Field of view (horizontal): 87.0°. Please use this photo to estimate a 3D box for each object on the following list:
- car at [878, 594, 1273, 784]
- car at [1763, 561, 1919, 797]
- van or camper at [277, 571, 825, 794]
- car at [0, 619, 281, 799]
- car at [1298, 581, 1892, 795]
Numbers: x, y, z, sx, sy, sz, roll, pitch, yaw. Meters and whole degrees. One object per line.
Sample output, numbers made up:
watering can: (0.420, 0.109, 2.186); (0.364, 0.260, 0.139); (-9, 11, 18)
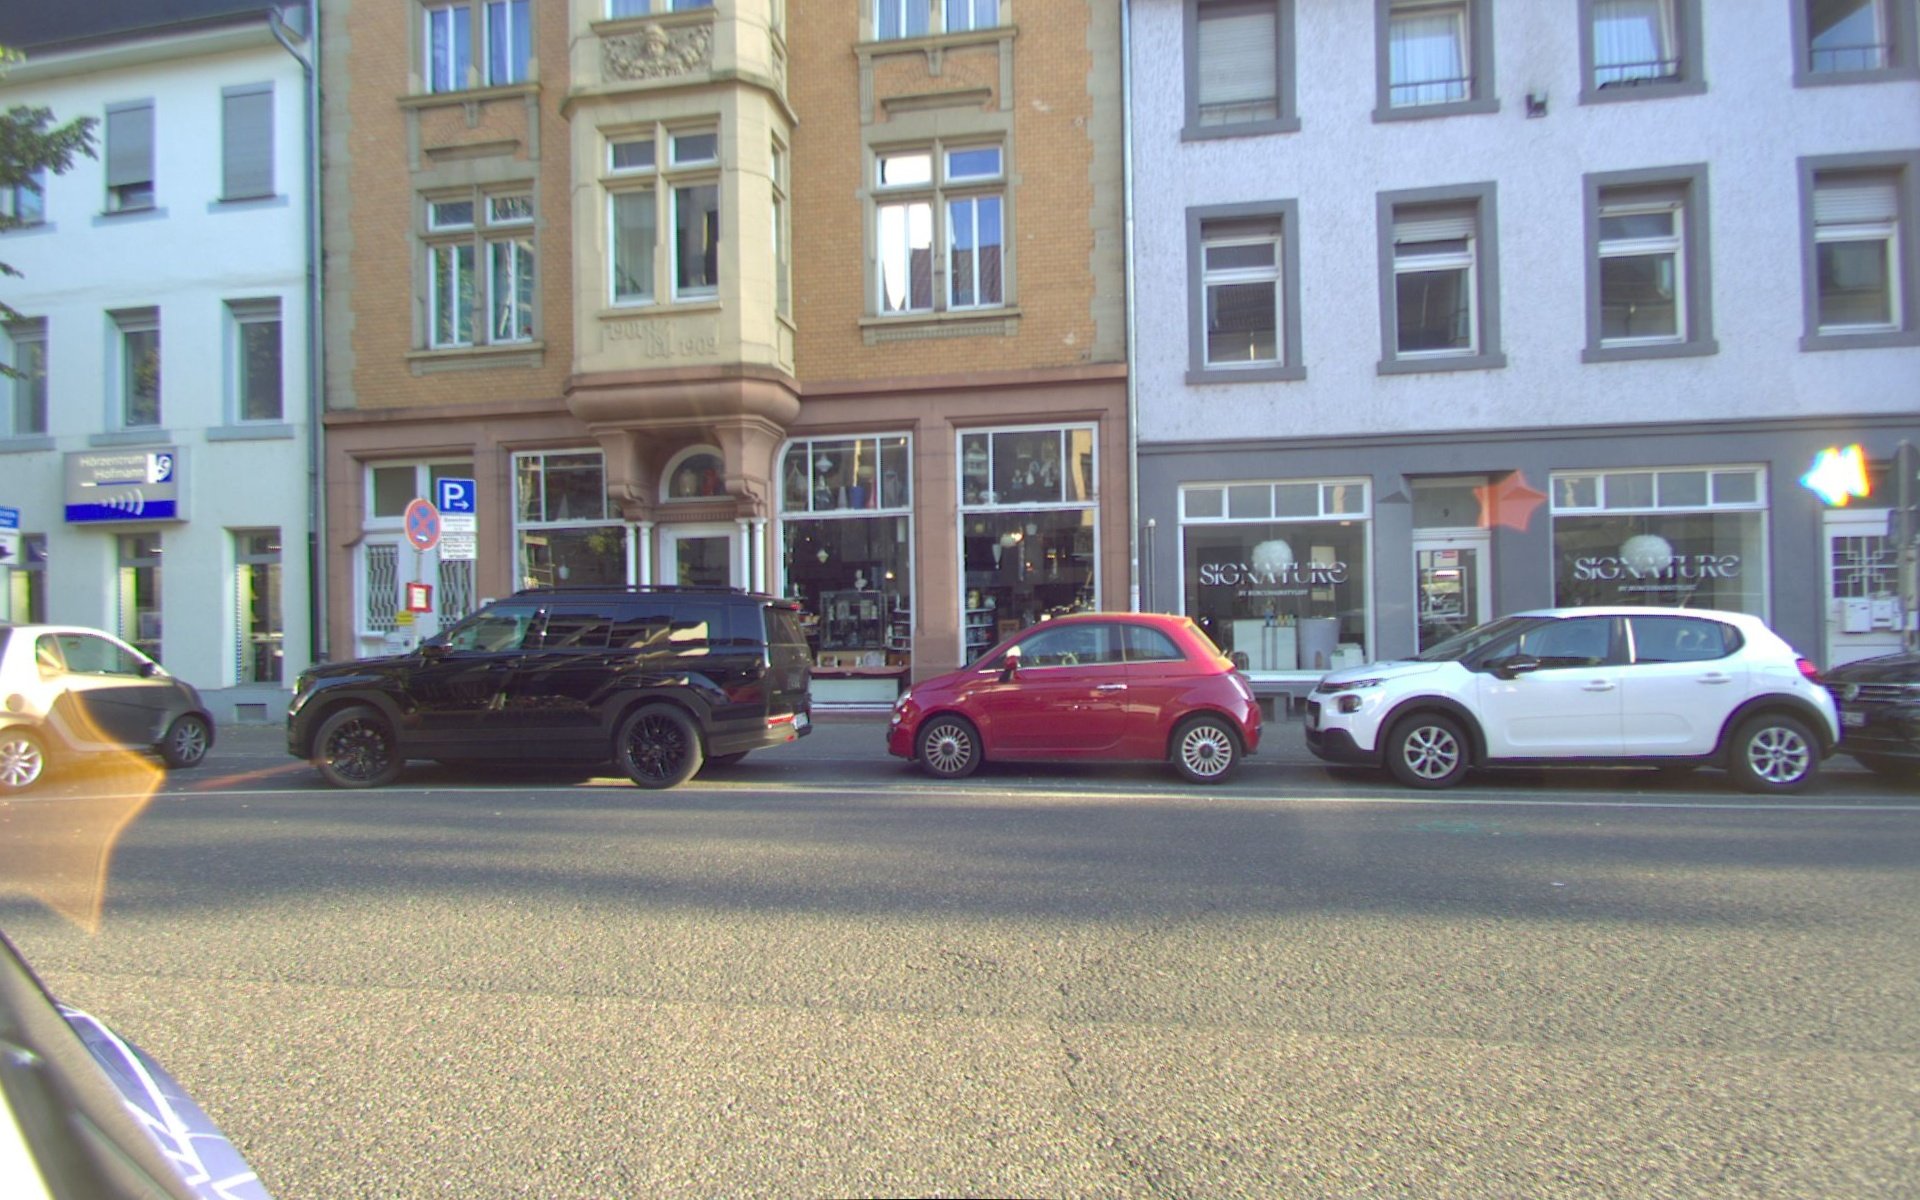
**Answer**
car: (1.065, 0.808, 9.529); (3.385, 1.582, 1.525); (-1, -3, 11)
car: (9.236, 0.562, 7.761); (4.409, 1.711, 1.795); (-1, -3, 9)
van or camper: (-3.636, 0.743, 9.506); (4.403, 1.821, 1.893); (-1, -2, 4)
car: (-9.031, 1.009, 10.441); (1.489, 1.588, 3.474); (-1, -2, 7)
car: (5.094, 0.739, 8.686); (3.891, 1.585, 1.662); (-2, -3, 10)
